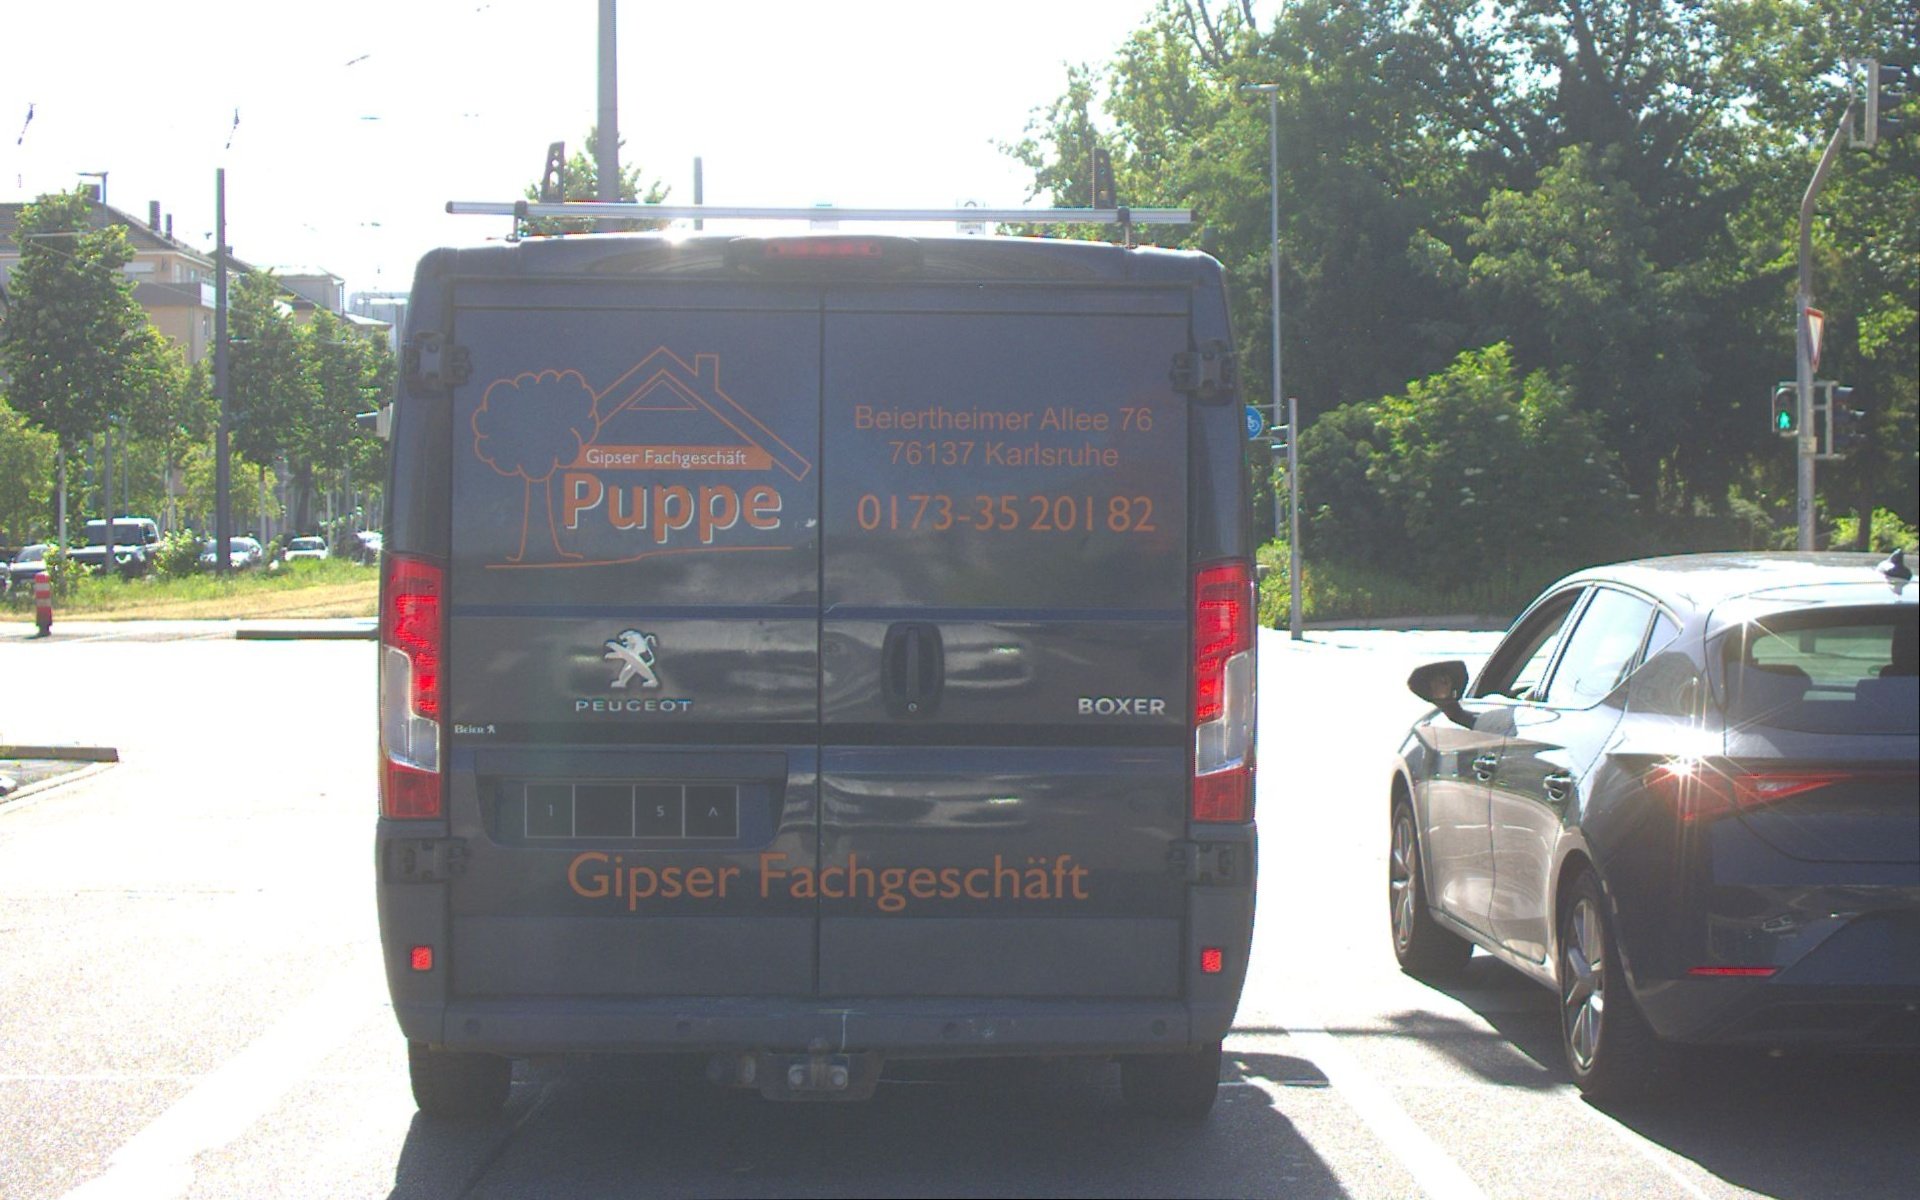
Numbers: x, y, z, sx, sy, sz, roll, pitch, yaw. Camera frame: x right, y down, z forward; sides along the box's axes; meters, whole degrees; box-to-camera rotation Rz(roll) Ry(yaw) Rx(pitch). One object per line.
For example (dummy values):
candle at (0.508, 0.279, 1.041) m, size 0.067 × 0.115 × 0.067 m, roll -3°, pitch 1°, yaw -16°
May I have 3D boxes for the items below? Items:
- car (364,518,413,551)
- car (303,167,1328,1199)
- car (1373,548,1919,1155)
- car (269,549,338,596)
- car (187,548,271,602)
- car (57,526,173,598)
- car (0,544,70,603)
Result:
car at (-28.621, -3.297, 172.388) m, size 1.790 × 1.645 × 4.000 m, roll -1°, pitch 1°, yaw 0°
car at (-0.395, 0.133, 9.786) m, size 2.218 × 2.259 × 4.485 m, roll 1°, pitch 2°, yaw -2°
car at (2.429, 0.577, 10.098) m, size 1.791 × 1.423 × 3.850 m, roll 1°, pitch 1°, yaw -2°
car at (-24.137, -1.019, 126.494) m, size 1.790 × 1.645 × 4.000 m, roll -1°, pitch 1°, yaw 0°
car at (-23.082, -0.811, 108.681) m, size 1.790 × 1.645 × 4.000 m, roll -1°, pitch 1°, yaw 0°
car at (-20.092, -0.922, 81.872) m, size 1.790 × 1.645 × 4.000 m, roll -1°, pitch 1°, yaw 0°
car at (-27.097, -0.776, 99.236) m, size 1.790 × 1.645 × 4.000 m, roll -1°, pitch 1°, yaw 0°
